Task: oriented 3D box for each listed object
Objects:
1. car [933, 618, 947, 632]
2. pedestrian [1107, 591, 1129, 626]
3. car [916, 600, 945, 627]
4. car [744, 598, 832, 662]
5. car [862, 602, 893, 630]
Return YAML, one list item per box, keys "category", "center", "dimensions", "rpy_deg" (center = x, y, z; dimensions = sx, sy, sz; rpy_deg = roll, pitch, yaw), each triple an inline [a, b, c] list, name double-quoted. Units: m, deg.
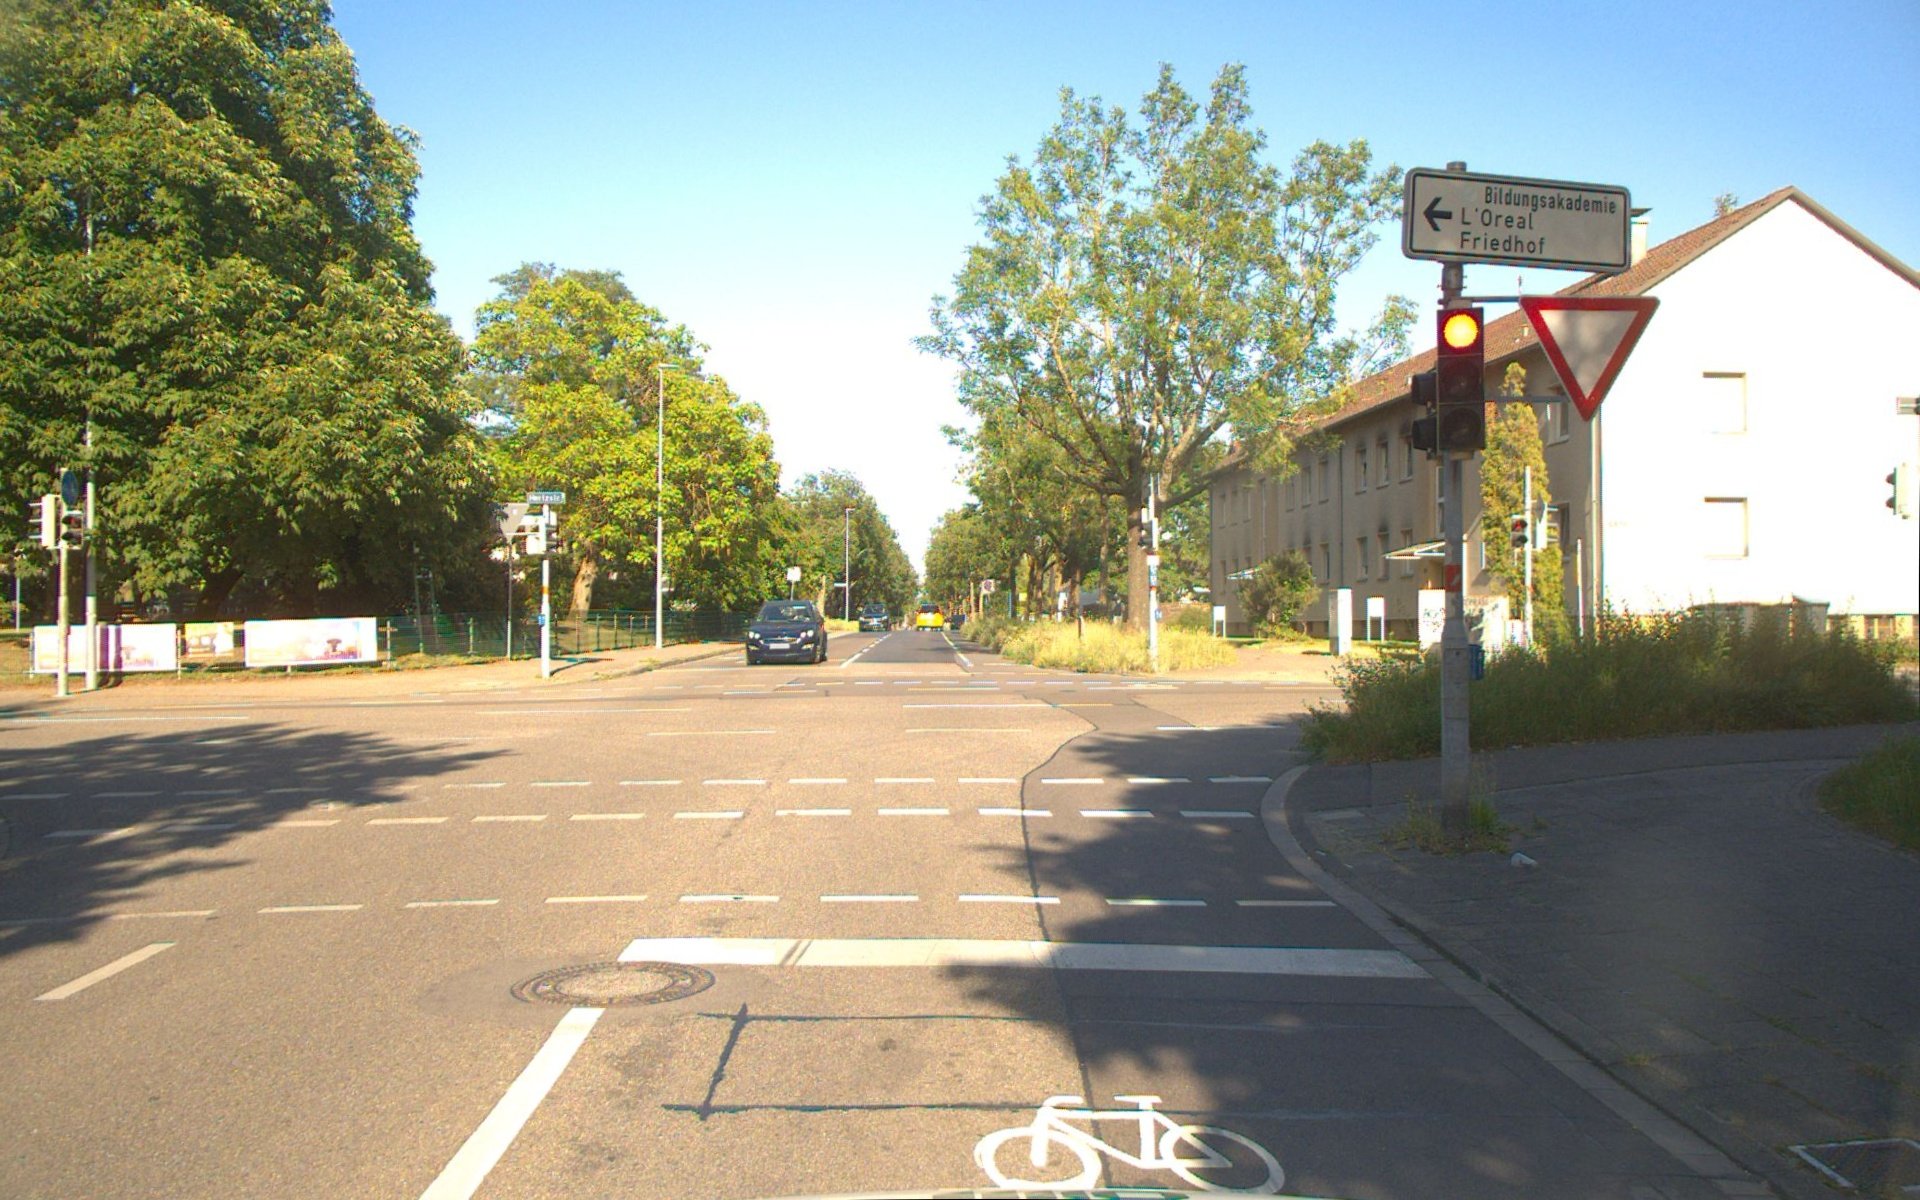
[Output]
- category: "car"
  center: [-2.640, 3.339, 219.155]
  dimensions: [1.737, 1.785, 3.999]
  rpy_deg: [1, 0, -1]
- category: "pedestrian"
  center: [7.005, 0.374, 73.443]
  dimensions: [0.825, 1.519, 0.924]
  rpy_deg: [2, 0, -1]
- category: "car"
  center: [-1.780, 0.840, 101.120]
  dimensions: [1.716, 1.610, 3.999]
  rpy_deg: [1, 0, -1]
- category: "car"
  center: [-3.957, 0.664, 38.553]
  dimensions: [1.676, 1.410, 3.471]
  rpy_deg: [0, 0, 0]
- category: "car"
  center: [-5.010, 0.942, 100.824]
  dimensions: [1.722, 1.653, 3.268]
  rpy_deg: [0, 0, 0]
